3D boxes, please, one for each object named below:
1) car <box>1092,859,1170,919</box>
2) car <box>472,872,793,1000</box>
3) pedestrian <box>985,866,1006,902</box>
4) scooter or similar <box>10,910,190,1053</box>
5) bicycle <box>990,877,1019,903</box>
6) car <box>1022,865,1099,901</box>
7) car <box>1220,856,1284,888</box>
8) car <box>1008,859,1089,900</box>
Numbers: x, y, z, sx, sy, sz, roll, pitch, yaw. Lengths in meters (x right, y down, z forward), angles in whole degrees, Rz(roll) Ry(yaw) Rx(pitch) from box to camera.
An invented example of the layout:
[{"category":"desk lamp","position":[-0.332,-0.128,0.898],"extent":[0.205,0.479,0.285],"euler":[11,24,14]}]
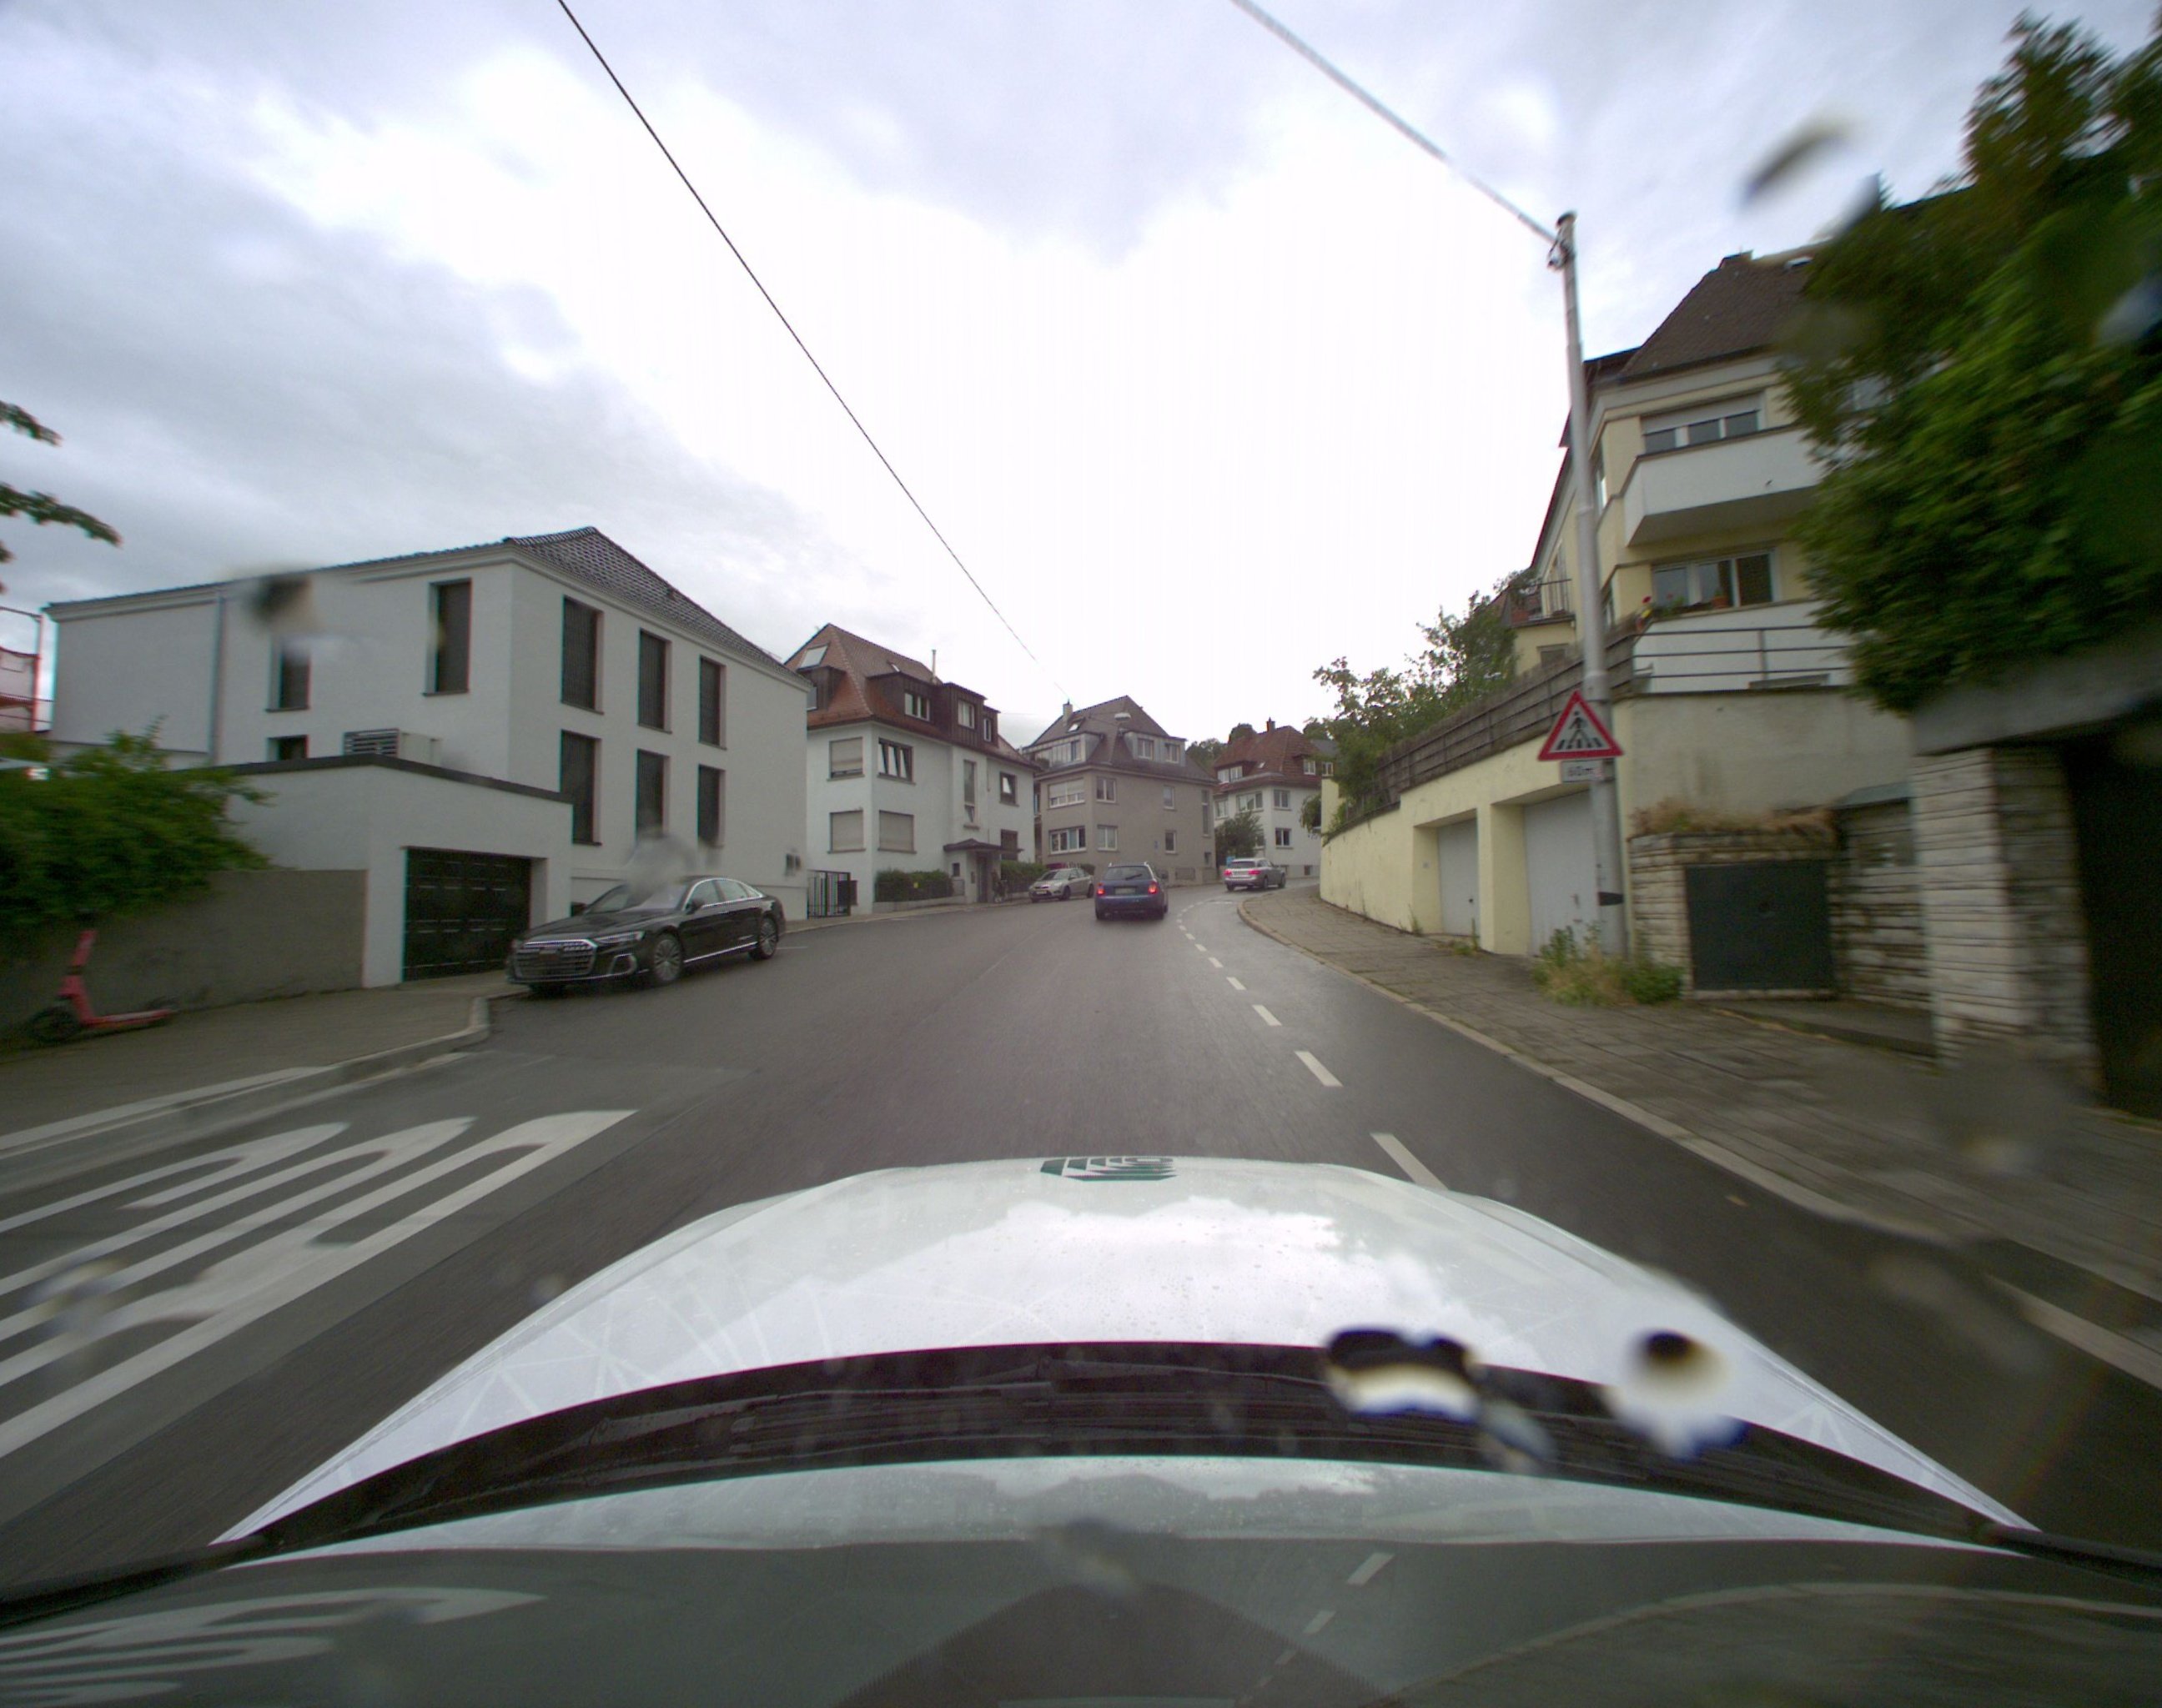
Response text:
[{"category":"car","position":[1.434,0.861,21.758],"extent":[1.801,1.439,4.089],"euler":[0,0,7]},{"category":"car","position":[-6.432,1.070,12.548],"extent":[1.820,1.486,4.997],"euler":[-3,-1,4]},{"category":"pedestrian","position":[-3.885,1.349,37.044],"extent":[0.488,1.577,0.952],"euler":[-3,-1,21]},{"category":"scooter or similar","position":[-9.414,1.181,7.867],"extent":[0.336,1.220,1.123],"euler":[-1,-1,3]},{"category":"bicycle","position":[-3.458,1.609,36.828],"extent":[0.452,1.067,1.931],"euler":[-3,-1,21]},{"category":"car","position":[-0.878,1.308,37.737],"extent":[1.819,1.425,4.253],"euler":[-5,-2,24]},{"category":"car","position":[7.919,0.861,37.477],"extent":[1.794,1.361,4.024],"euler":[-1,-2,28]},{"category":"car","position":[-1.867,1.462,46.487],"extent":[3.948,1.823,2.013],"euler":[-8,-4,30]}]
